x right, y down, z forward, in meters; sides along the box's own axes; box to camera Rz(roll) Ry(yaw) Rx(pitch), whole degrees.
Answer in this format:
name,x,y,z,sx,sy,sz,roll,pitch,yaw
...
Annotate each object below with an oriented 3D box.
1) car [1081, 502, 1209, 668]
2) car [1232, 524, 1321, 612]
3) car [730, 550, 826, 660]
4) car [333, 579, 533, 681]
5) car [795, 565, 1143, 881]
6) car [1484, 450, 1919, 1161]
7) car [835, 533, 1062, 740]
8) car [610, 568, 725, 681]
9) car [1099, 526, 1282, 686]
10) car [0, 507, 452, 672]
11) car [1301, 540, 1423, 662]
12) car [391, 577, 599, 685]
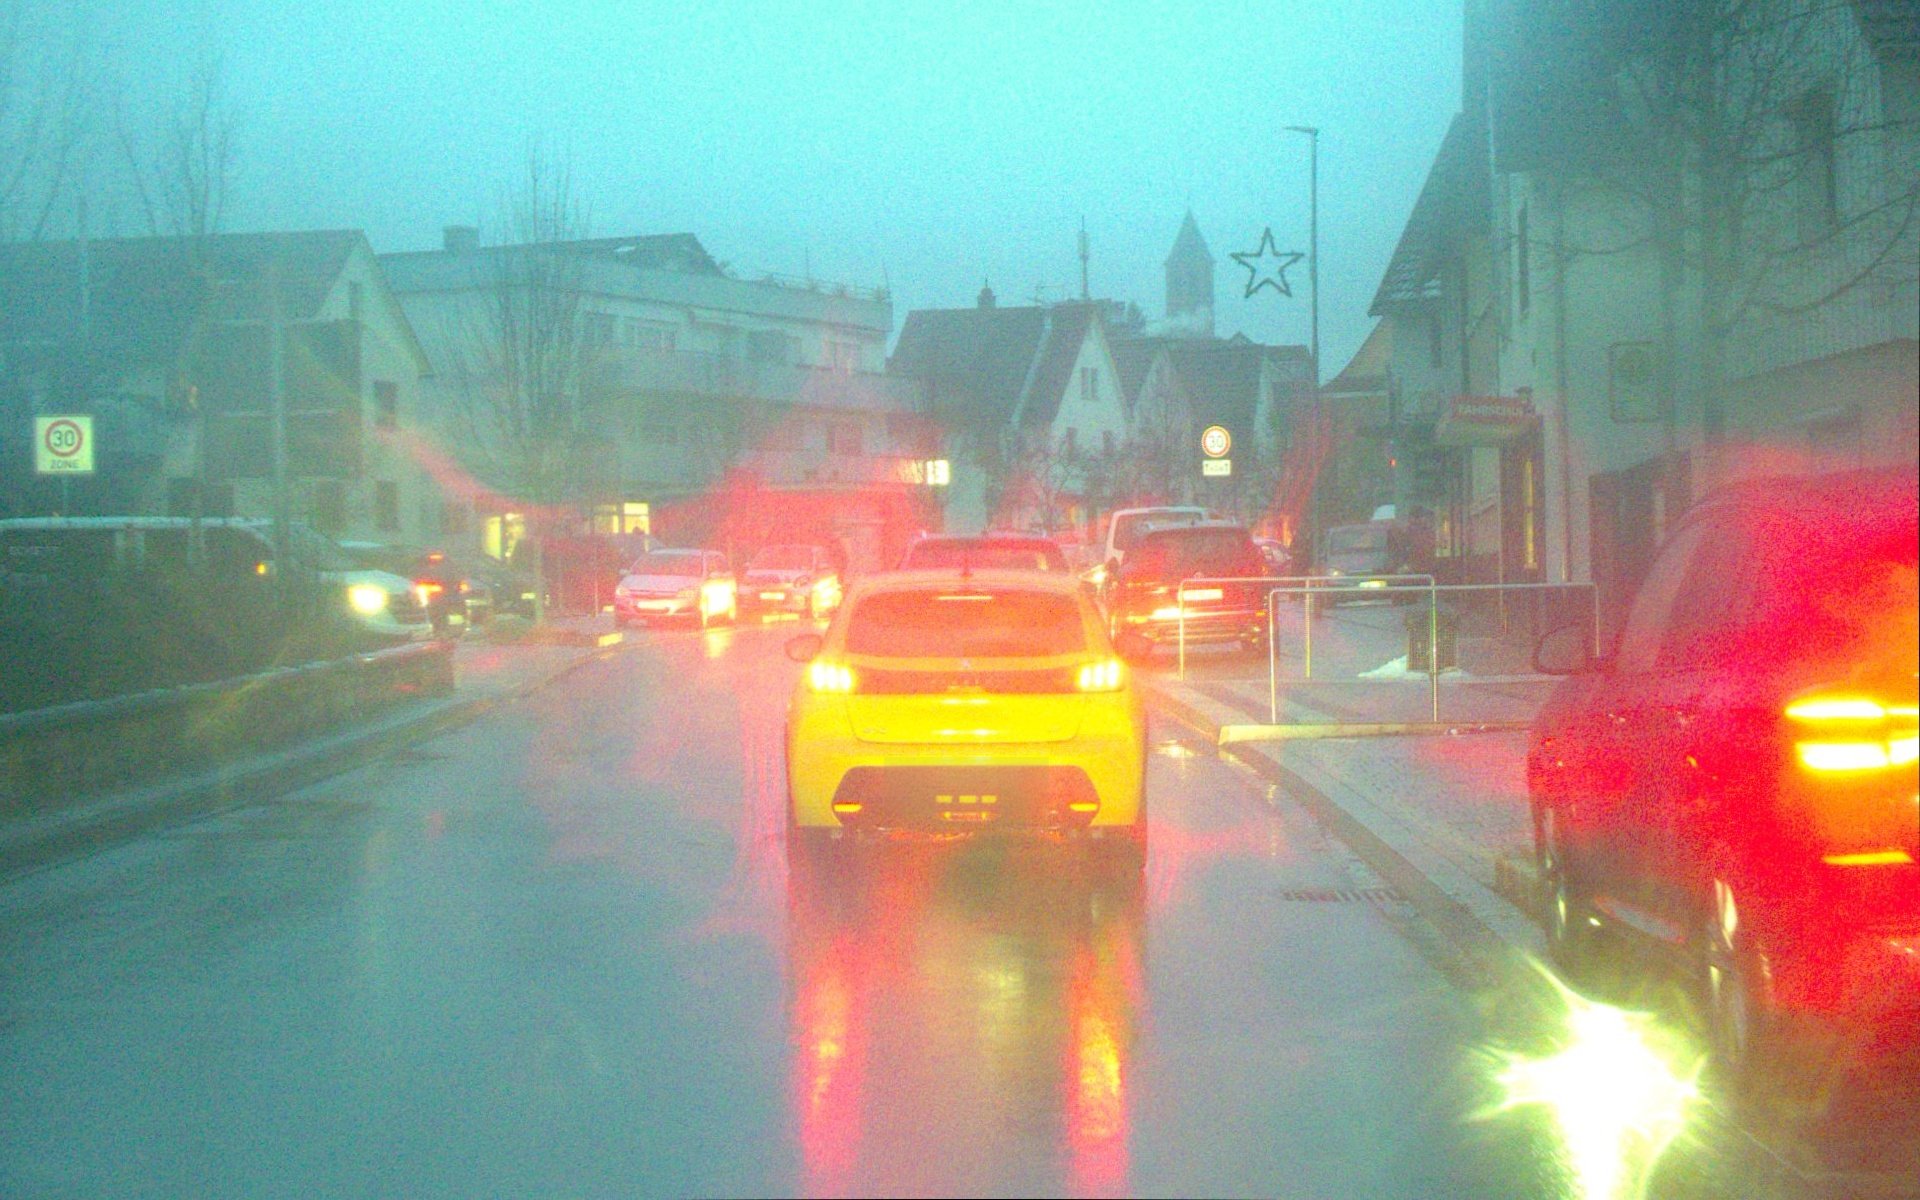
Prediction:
name,x,y,z,sx,sy,sz,roll,pitch,yaw
car,2.900,-0.184,54.723,1.870,2.461,4.443,1,-2,1
car,7.314,-0.717,79.169,1.871,1.829,4.442,1,-2,7
car,-3.838,0.133,73.138,1.919,2.208,3.975,1,-2,-2
car,-10.639,0.619,69.239,4.166,1.969,1.818,-1,-2,44
car,0.045,0.544,17.176,1.563,1.408,3.018,1,1,0
car,2.810,0.464,10.363,1.735,1.686,4.386,-1,0,-1
car,-0.039,0.265,29.308,1.766,1.623,3.585,1,1,2
car,-5.525,0.497,65.243,1.919,2.021,3.975,1,-2,-2
car,2.781,0.065,42.236,1.997,1.858,4.083,0,0,1
car,-9.016,-0.145,41.548,5.400,1.811,1.711,2,0,14
car,7.813,0.058,67.071,1.993,2.241,3.999,1,-2,2
car,-9.771,0.661,72.072,4.383,2.159,1.995,-1,-2,44
